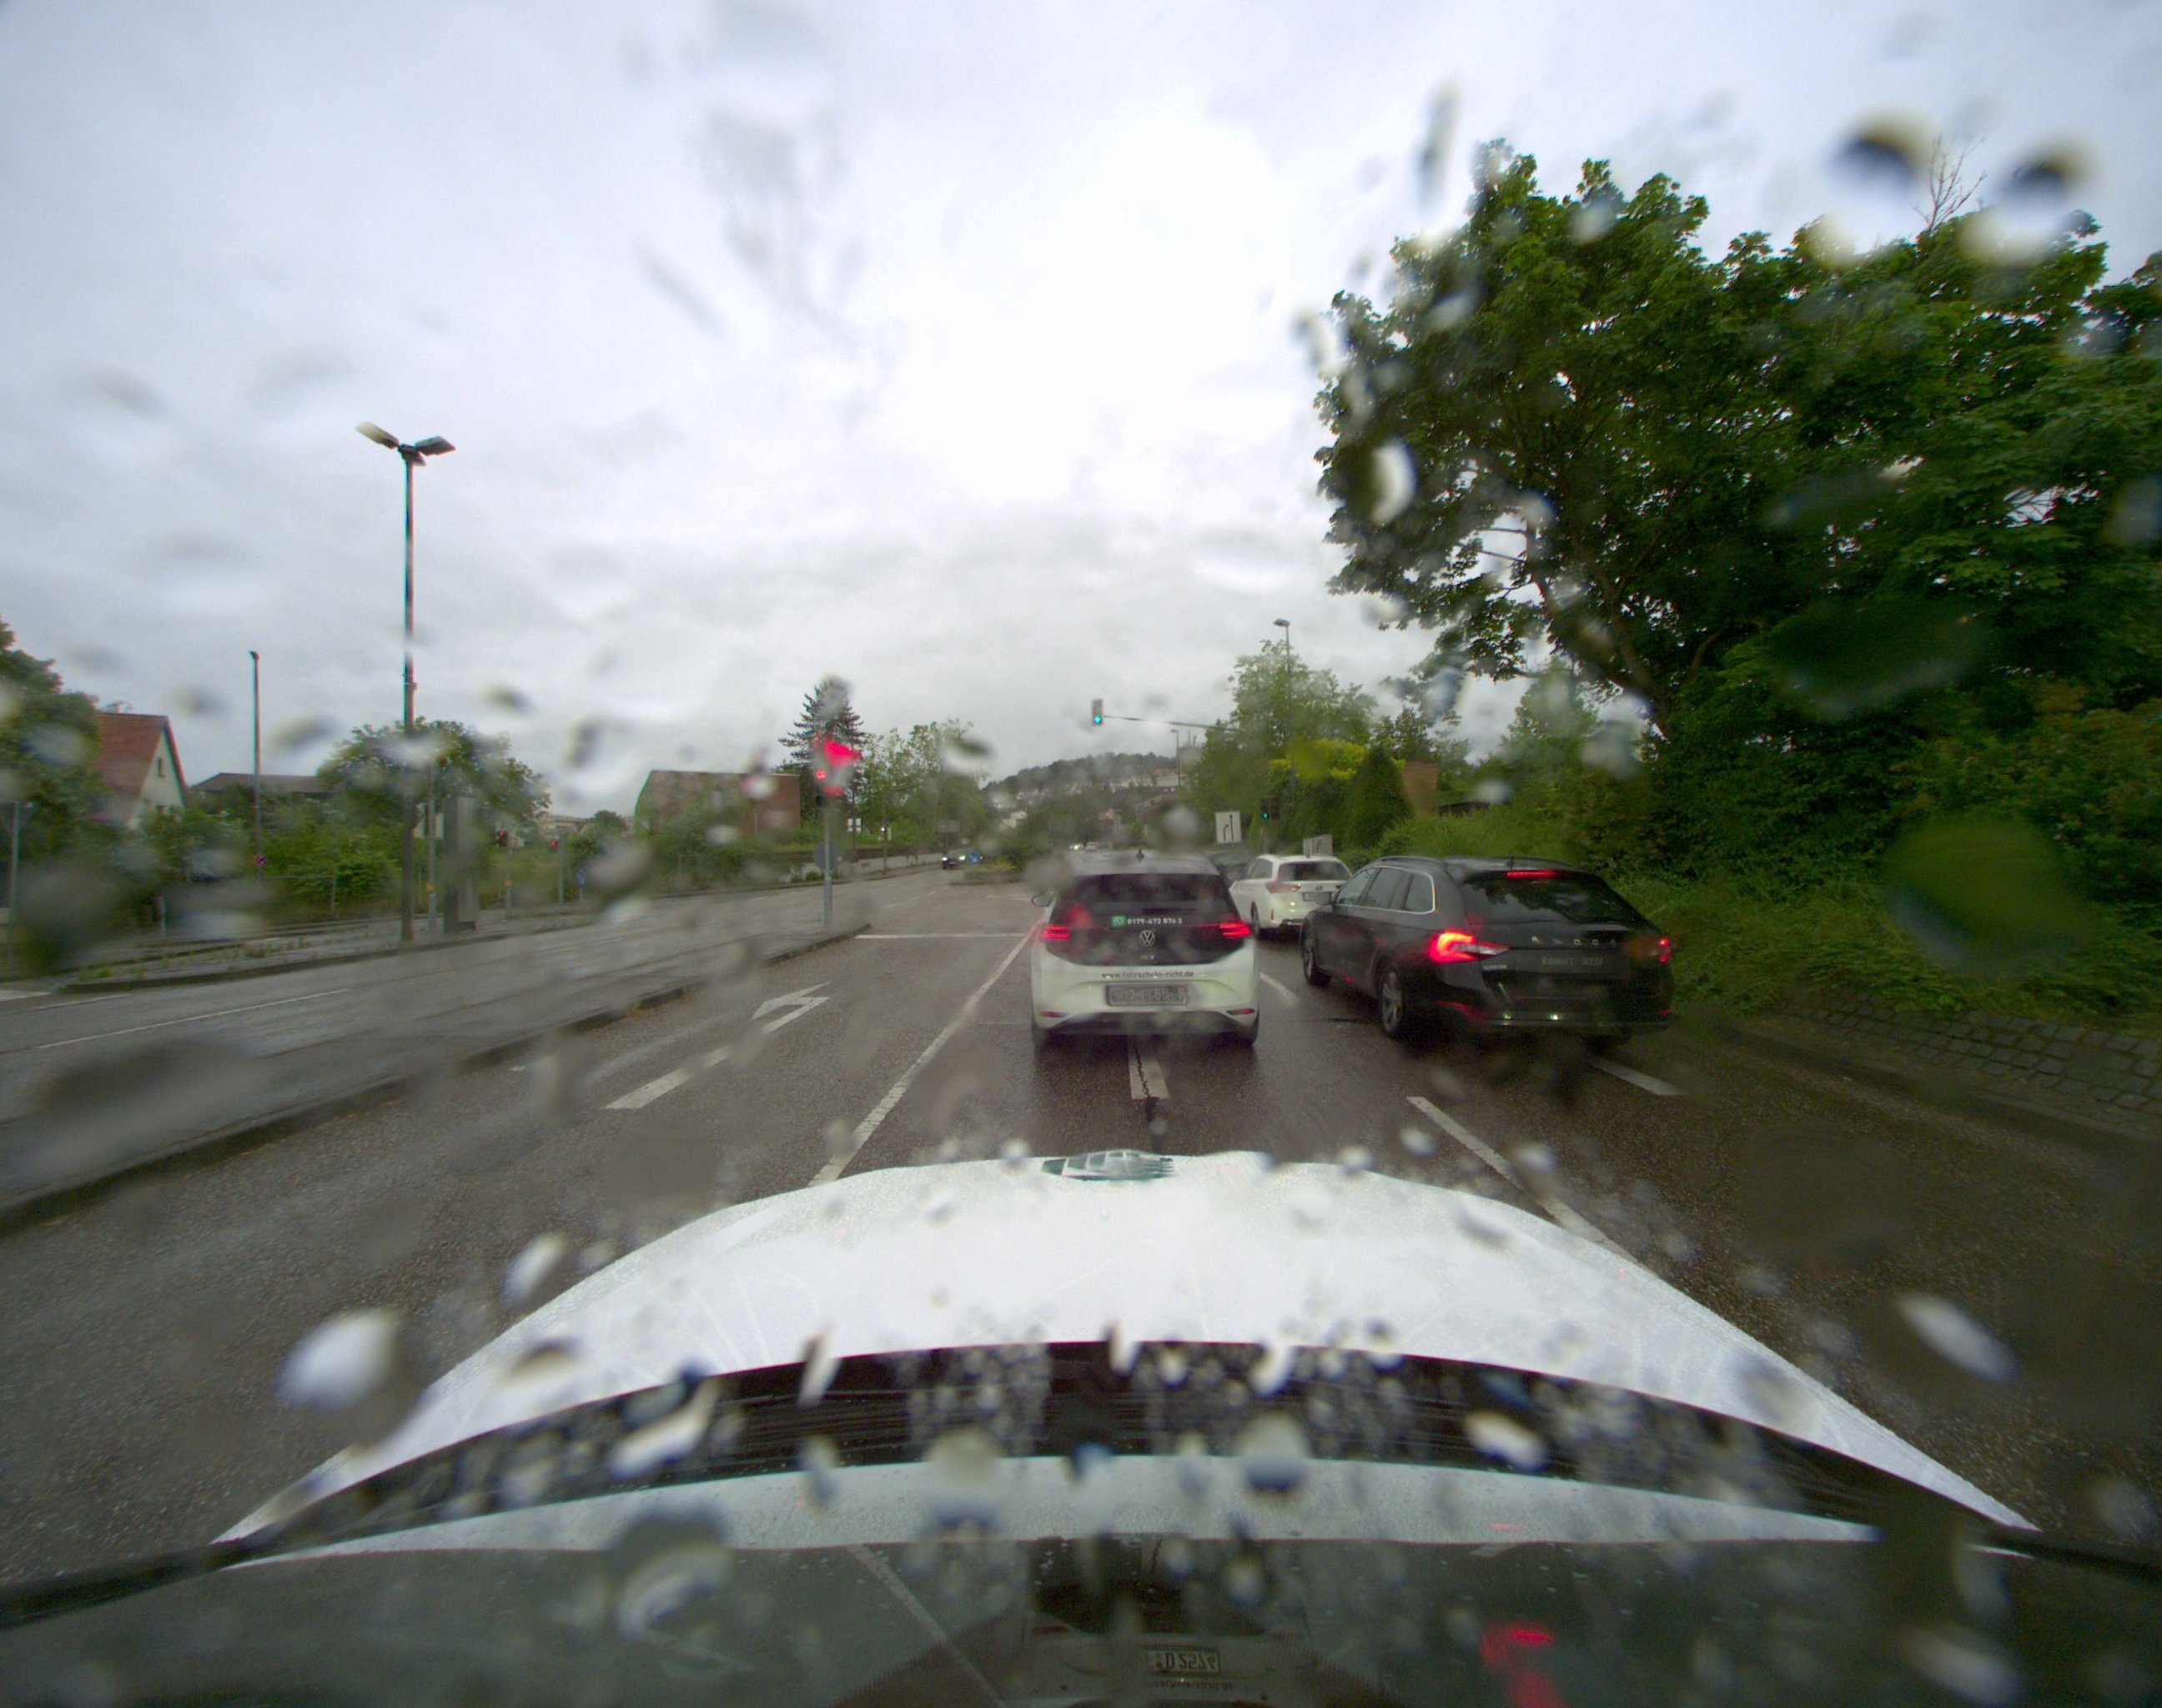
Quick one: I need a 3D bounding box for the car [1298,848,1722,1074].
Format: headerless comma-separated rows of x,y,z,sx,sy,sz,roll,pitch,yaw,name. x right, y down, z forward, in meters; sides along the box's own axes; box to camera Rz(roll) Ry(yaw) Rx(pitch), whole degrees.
3.376,0.681,7.499,1.830,1.466,4.353,0,0,3,car

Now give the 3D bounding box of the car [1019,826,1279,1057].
0.531,0.603,8.054,1.831,1.629,4.617,0,0,1,car

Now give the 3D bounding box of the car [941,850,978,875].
-9.429,0.643,63.452,1.986,1.804,4.002,-4,0,2,car

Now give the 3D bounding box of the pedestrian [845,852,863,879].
-13.782,0.703,49.539,0.757,1.568,0.825,-4,0,1,pedestrian

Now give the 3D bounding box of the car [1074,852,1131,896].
0.726,0.633,28.107,1.831,1.400,3.832,0,0,1,car

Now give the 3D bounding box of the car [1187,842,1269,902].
4.128,0.476,23.384,1.769,1.581,4.002,0,0,2,car

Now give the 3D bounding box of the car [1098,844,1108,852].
4.343,-1.216,158.667,1.755,1.418,3.748,-3,0,0,car

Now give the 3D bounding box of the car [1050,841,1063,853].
-4.159,-1.238,140.555,1.986,2.014,4.002,-1,-1,2,car

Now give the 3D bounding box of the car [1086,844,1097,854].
1.649,-0.747,122.633,1.575,1.467,4.000,-3,-1,1,car

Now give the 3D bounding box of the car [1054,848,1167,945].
0.522,0.673,15.255,1.831,1.555,4.176,0,0,1,car

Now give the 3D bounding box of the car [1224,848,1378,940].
3.860,0.621,15.026,1.831,1.466,4.118,0,0,1,car
